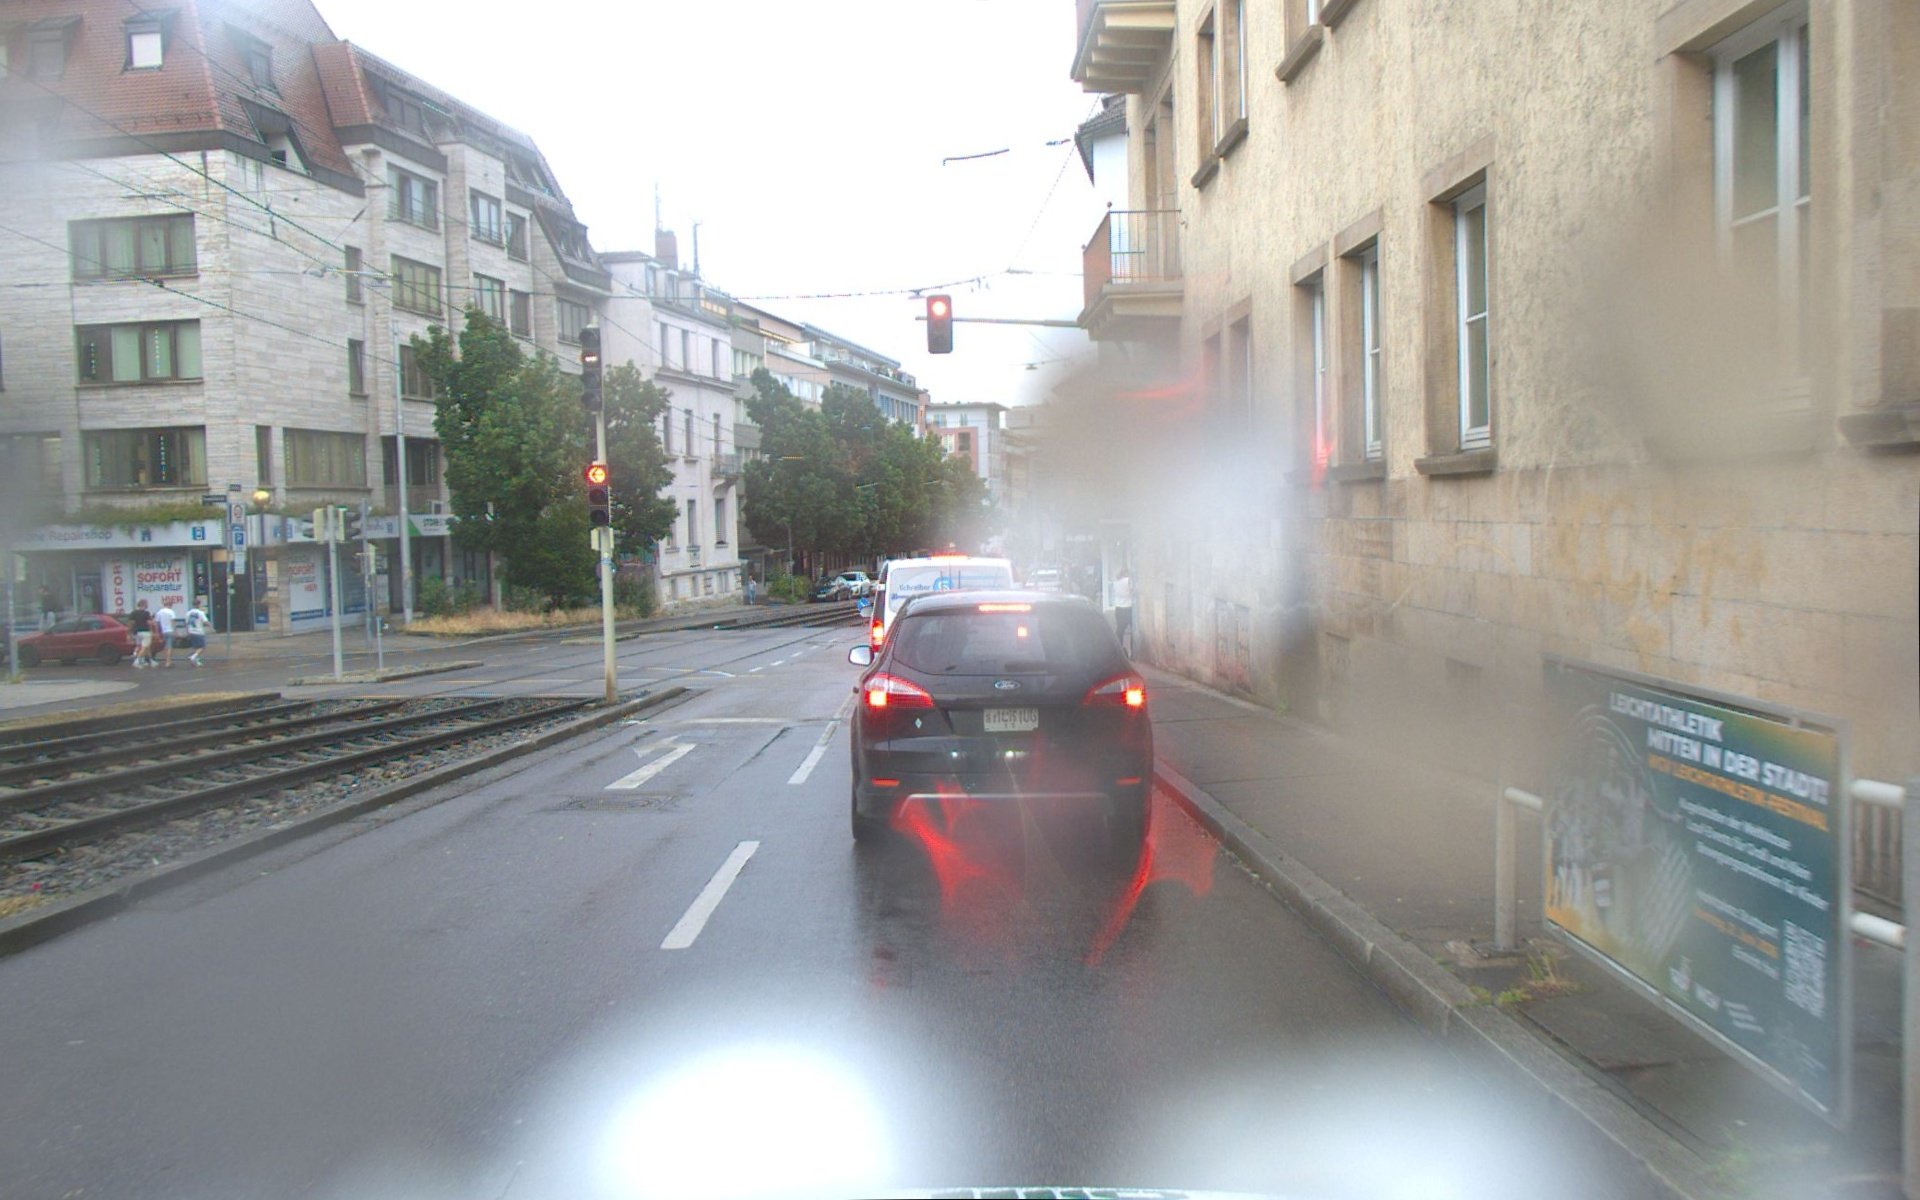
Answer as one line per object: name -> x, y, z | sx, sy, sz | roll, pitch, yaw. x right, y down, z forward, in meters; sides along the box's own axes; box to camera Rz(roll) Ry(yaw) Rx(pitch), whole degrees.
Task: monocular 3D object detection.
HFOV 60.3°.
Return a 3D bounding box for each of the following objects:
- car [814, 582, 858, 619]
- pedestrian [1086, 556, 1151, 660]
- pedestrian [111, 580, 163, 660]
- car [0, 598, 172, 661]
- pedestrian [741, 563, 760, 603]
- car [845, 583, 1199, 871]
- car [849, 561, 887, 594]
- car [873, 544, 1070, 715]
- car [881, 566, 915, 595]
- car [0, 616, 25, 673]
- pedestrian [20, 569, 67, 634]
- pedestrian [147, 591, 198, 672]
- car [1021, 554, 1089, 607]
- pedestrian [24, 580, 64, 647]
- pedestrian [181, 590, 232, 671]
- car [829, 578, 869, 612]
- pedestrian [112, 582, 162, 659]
car -> -7.294, -0.004, 97.329 | 1.951, 2.049, 4.002 | -2, 1, 4
pedestrian -> 2.894, 0.140, 30.199 | 1.024, 1.826, 0.902 | -2, 0, -3
pedestrian -> -21.567, 0.524, 43.354 | 0.923, 2.049, 0.764 | -2, 0, -5
car -> -24.567, 0.821, 46.443 | 4.045, 1.596, 1.825 | -2, 1, 8
pedestrian -> -11.124, -0.896, 87.839 | 0.924, 2.049, 0.763 | -2, 0, -10
car -> 0.246, 0.659, 10.809 | 1.882, 1.505, 3.998 | -1, 0, -3
car -> -6.115, -1.491, 109.963 | 1.951, 2.049, 4.002 | -2, 1, 4
car -> 0.043, 0.287, 20.288 | 2.094, 1.775, 4.216 | -3, 1, -2
car -> -4.525, -1.441, 121.379 | 1.951, 2.049, 4.002 | -2, 1, 4
car -> -29.269, 1.332, 47.320 | 4.045, 1.596, 1.825 | -2, 1, 8
pedestrian -> -28.718, 0.029, 51.821 | 0.886, 1.965, 0.825 | -3, 2, -1
pedestrian -> -20.568, 0.810, 43.206 | 0.923, 2.049, 0.764 | -2, 0, -5
car -> 3.474, -0.720, 59.812 | 1.951, 1.803, 4.004 | -2, 1, 10
pedestrian -> -28.113, 0.407, 50.752 | 0.778, 2.049, 0.704 | -1, 0, 7
pedestrian -> -19.590, 0.781, 43.002 | 0.922, 2.049, 0.765 | -2, 0, -1
car -> -6.942, -0.348, 103.725 | 1.951, 2.049, 4.002 | -2, 1, 4
pedestrian -> -22.339, 0.545, 44.901 | 0.923, 2.049, 0.764 | -2, 0, -5
